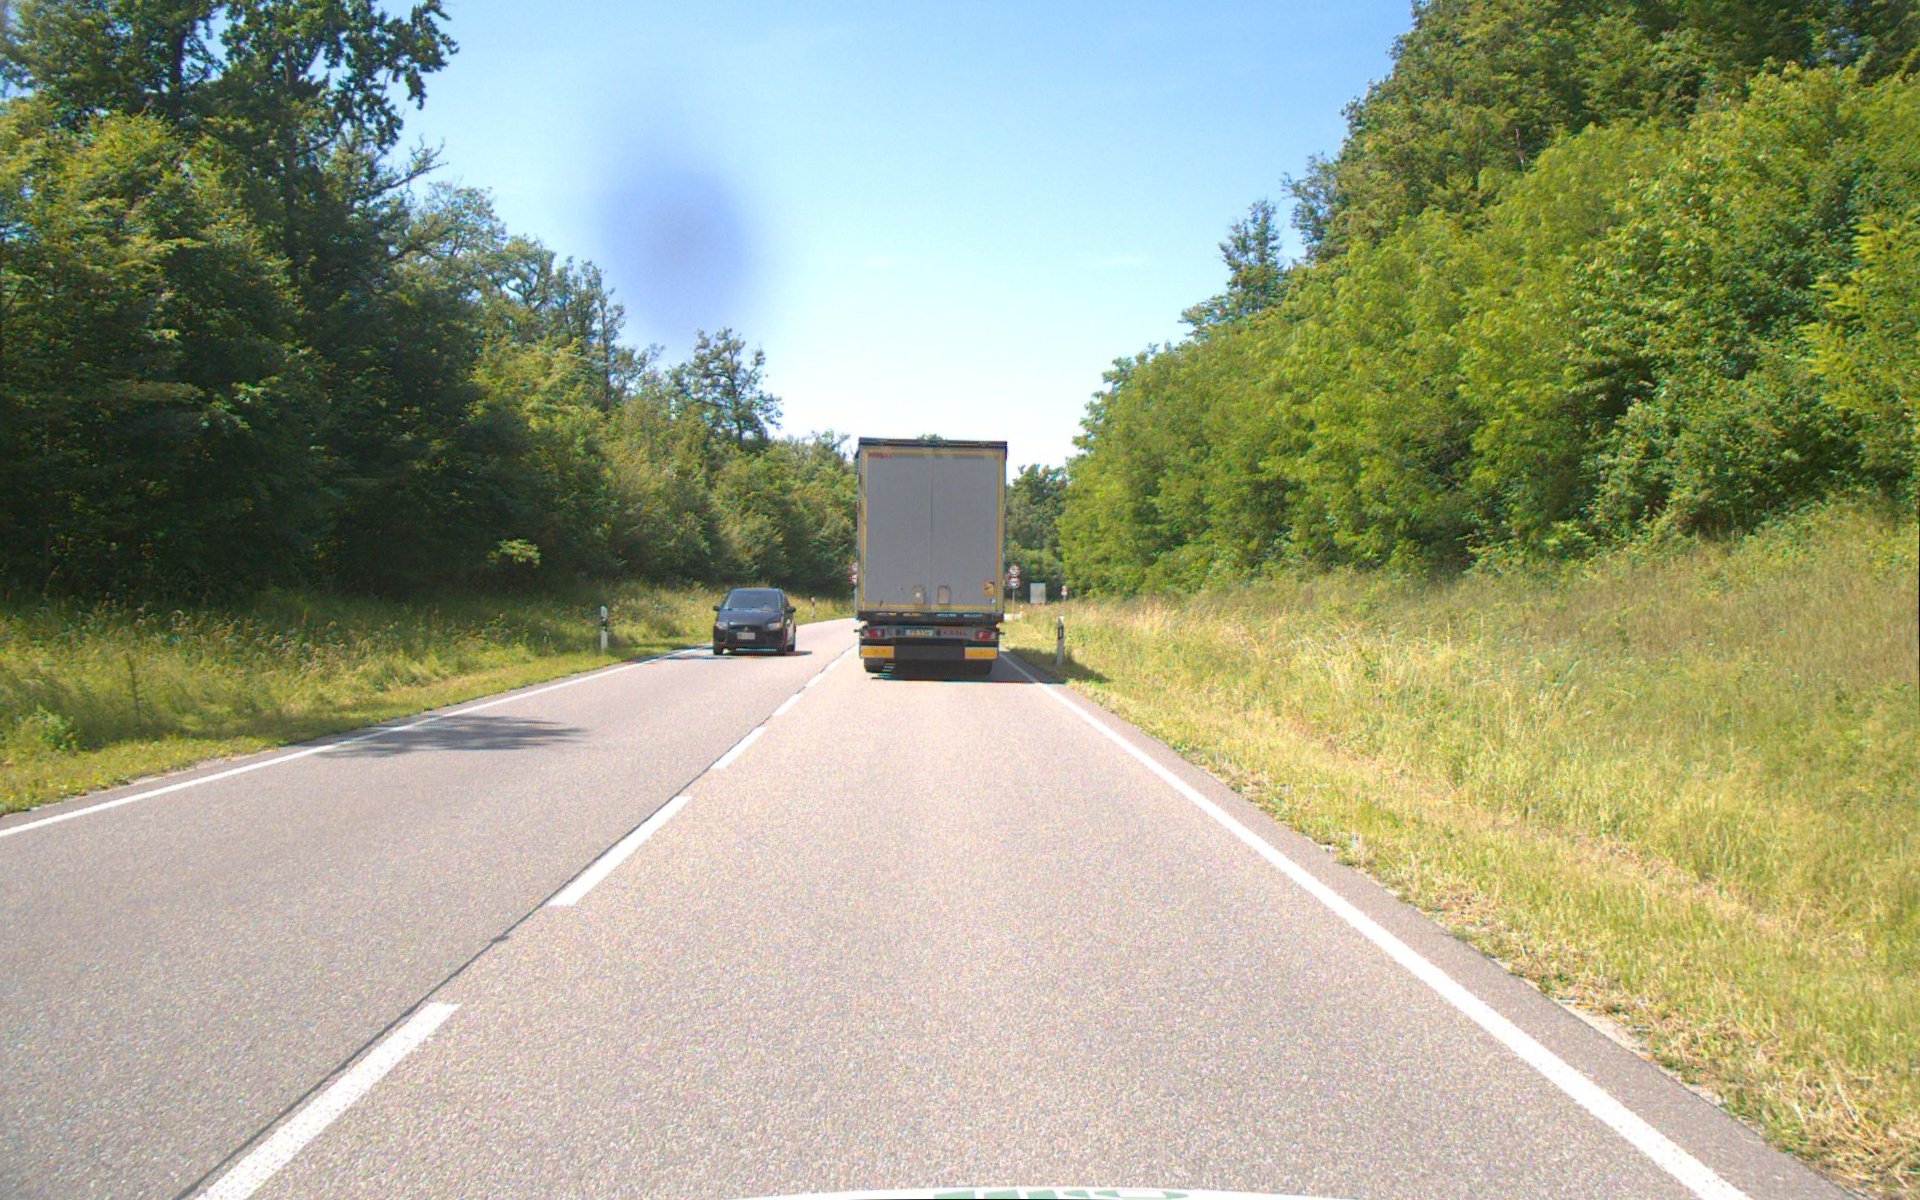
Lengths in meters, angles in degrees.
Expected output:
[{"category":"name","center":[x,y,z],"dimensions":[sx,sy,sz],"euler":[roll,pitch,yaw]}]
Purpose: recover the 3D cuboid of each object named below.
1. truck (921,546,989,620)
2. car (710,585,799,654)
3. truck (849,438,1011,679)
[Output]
[{"category":"truck","center":[-0.159,-1.040,108.074],"dimensions":[3.714,4.449,14.924],"euler":[1,0,2]},{"category":"car","center":[-4.767,0.414,38.807],"dimensions":[1.627,1.521,3.805],"euler":[1,0,0]},{"category":"truck","center":[-0.657,-0.731,33.730],"dimensions":[2.705,4.016,12.194],"euler":[0,0,-2]}]
